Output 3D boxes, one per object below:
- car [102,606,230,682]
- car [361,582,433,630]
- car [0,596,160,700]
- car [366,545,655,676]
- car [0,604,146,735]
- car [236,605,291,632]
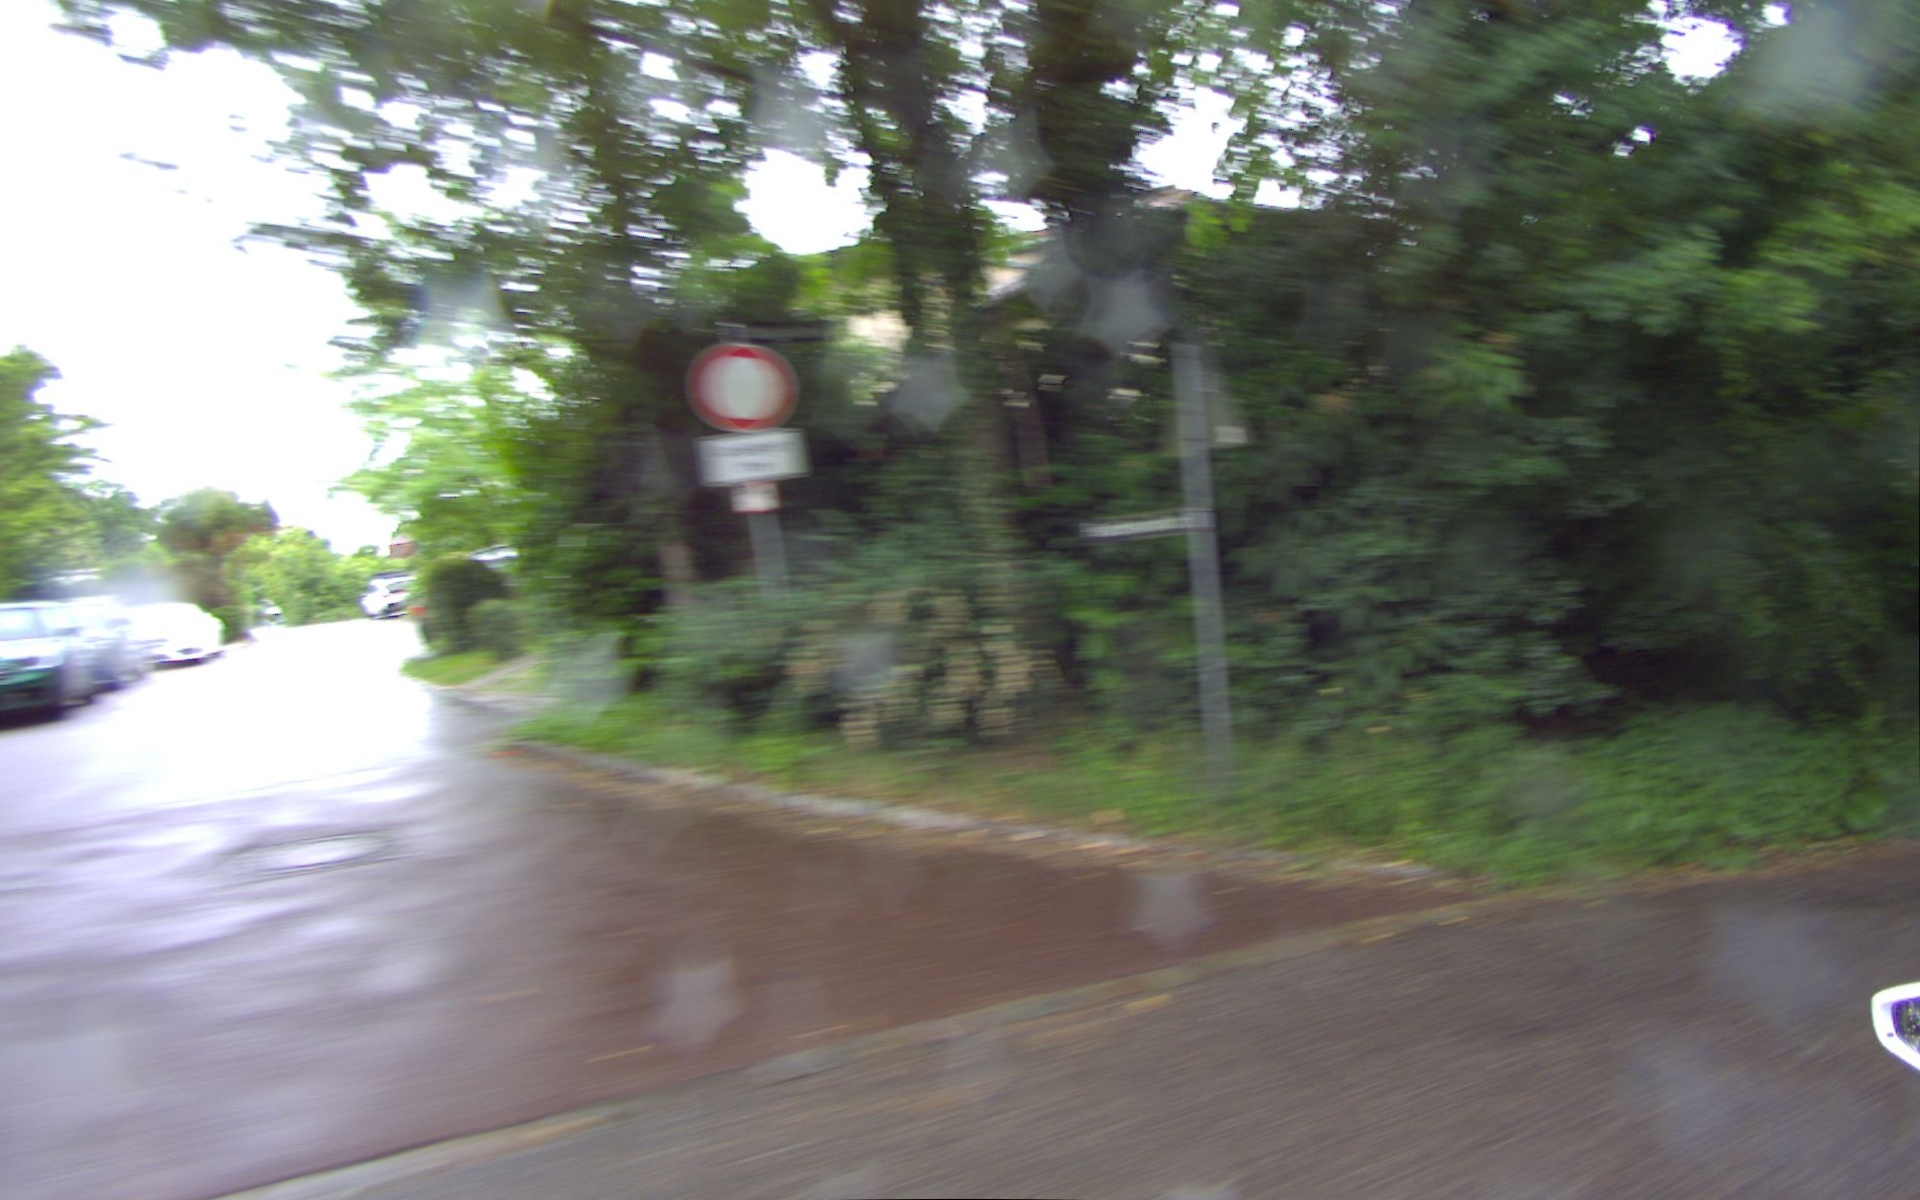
[{"bbox_3d":[-18.171,0.995,23.162,1.818,1.525,3.966,-2,-1,-32],"label":"car"},{"bbox_3d":[-22.787,0.277,40.576,1.795,1.774,3.953,0,-2,-41],"label":"car"},{"bbox_3d":[-15.552,0.808,17.649,1.818,1.573,3.966,-2,0,-32],"label":"car"},{"bbox_3d":[-7.411,0.145,16.757,3.923,1.435,1.699,-9,5,8],"label":"car"},{"bbox_3d":[-12.697,0.909,13.525,1.816,1.482,3.970,-7,4,-28],"label":"car"},{"bbox_3d":[-42.274,1.118,60.909,3.942,1.428,1.791,-4,-2,41],"label":"car"}]
